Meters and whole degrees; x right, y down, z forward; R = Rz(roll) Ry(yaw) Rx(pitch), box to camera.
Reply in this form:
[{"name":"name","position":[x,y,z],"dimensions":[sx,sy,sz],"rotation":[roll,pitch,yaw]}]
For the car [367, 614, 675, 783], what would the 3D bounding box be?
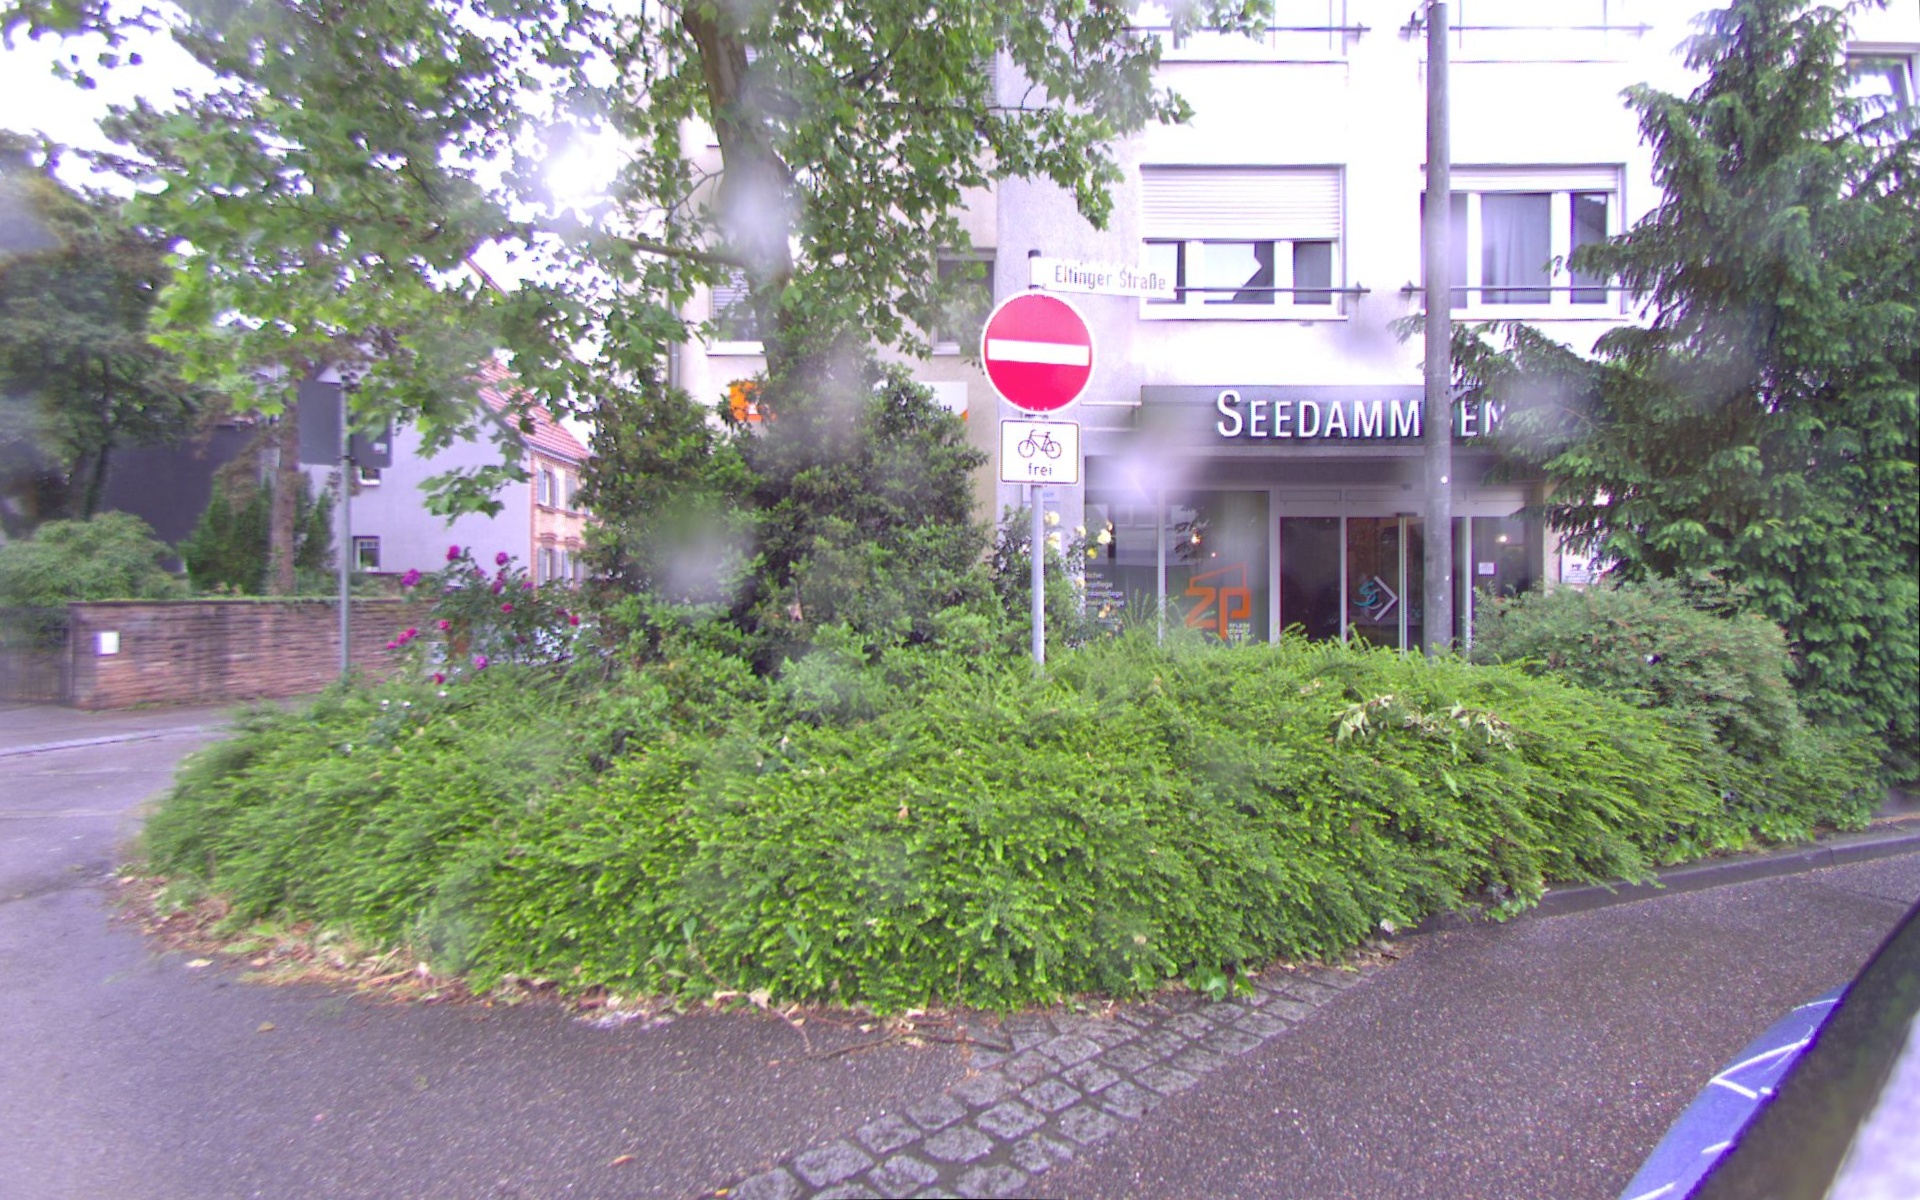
[{"name":"car","position":[-6.901,1.652,16.384],"dimensions":[1.994,1.659,3.966],"rotation":[27,3,24]}]
